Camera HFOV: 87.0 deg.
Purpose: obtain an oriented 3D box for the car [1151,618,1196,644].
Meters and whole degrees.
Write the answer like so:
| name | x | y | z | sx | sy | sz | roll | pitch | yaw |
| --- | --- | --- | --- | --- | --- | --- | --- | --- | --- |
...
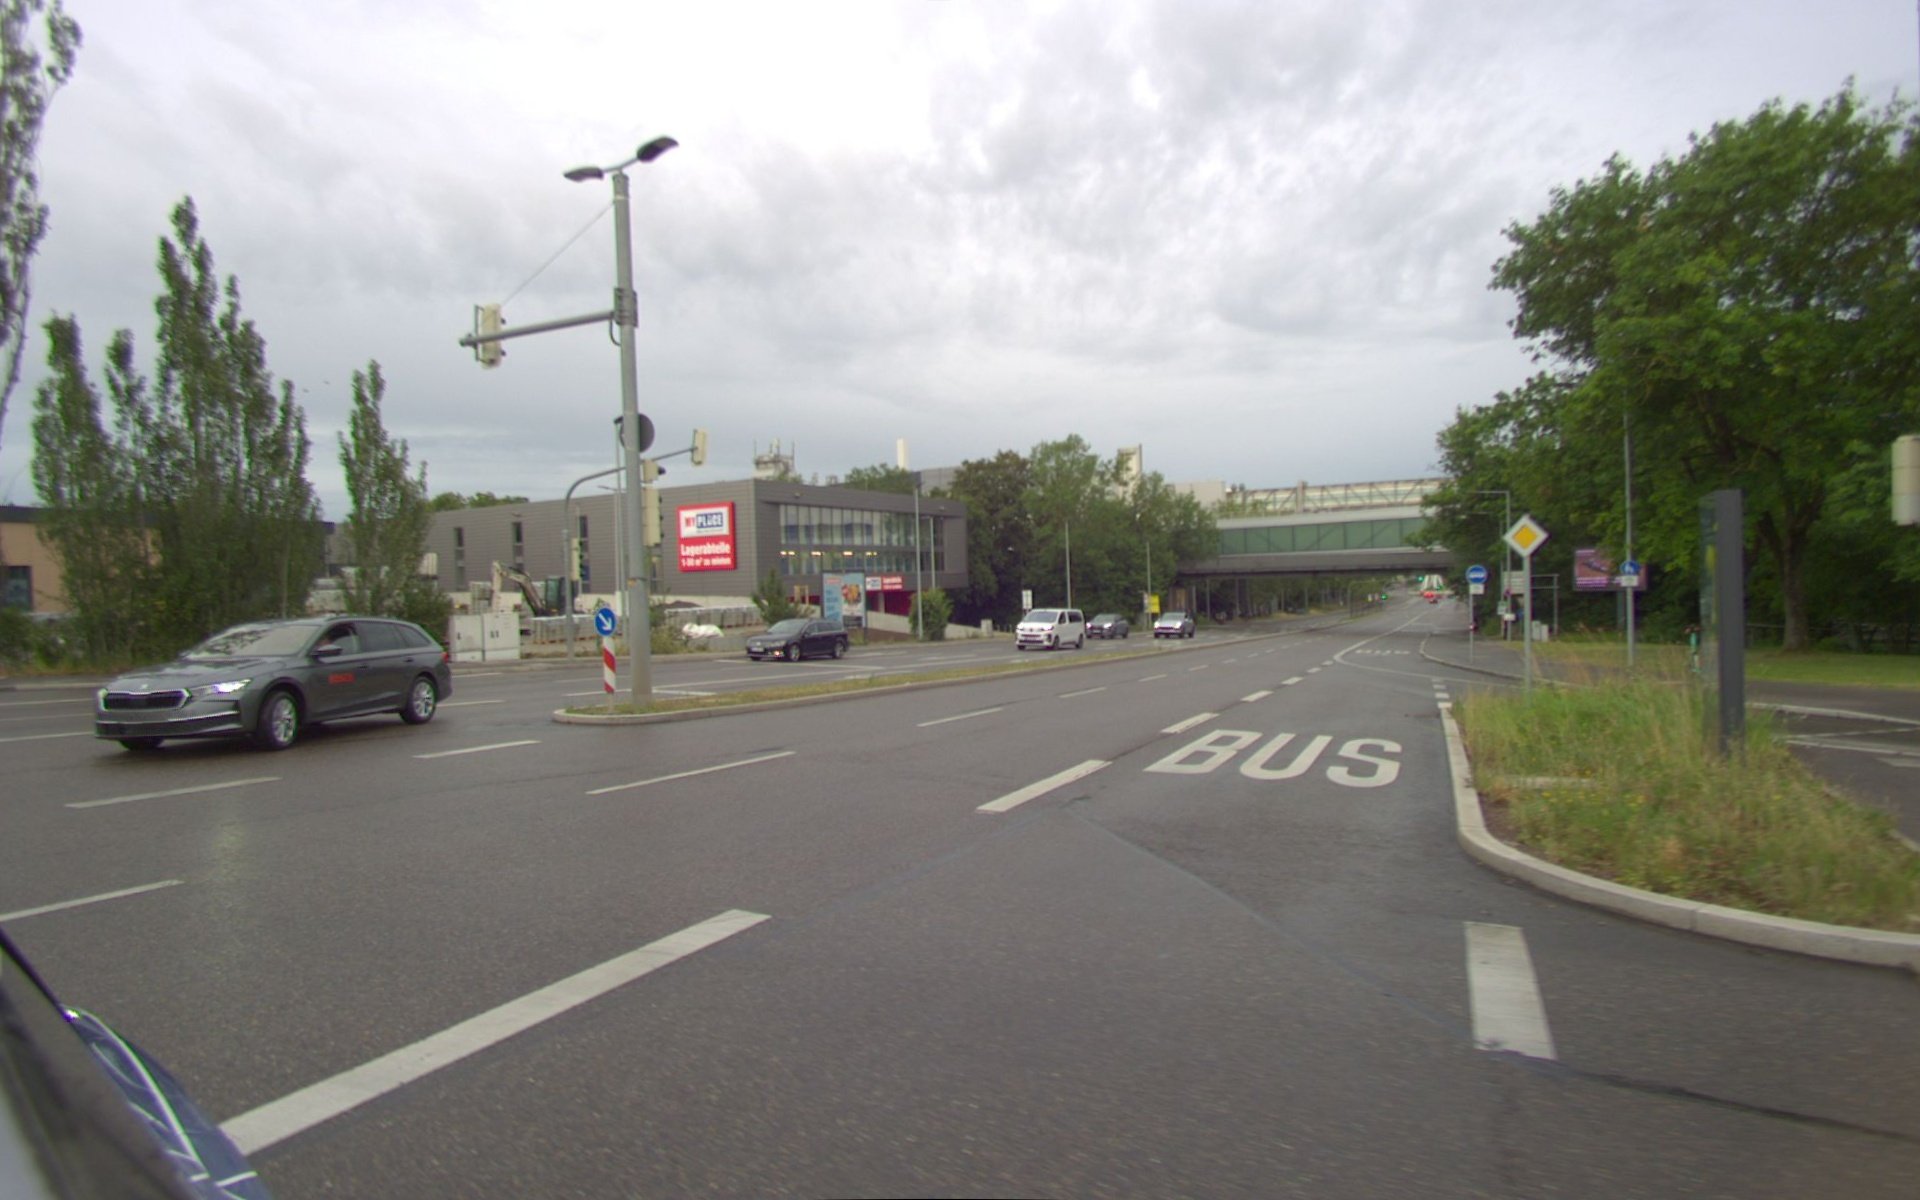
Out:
| name | x | y | z | sx | sy | sz | roll | pitch | yaw |
| --- | --- | --- | --- | --- | --- | --- | --- | --- | --- |
| car | 14.474 | 2.101 | 68.425 | 1.831 | 1.715 | 4.583 | -2 | -2 | 27 |

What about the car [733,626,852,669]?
| name | x | y | z | sx | sy | sz | roll | pitch | yaw |
| --- | --- | --- | --- | --- | --- | --- | --- | --- | --- |
| car | -5.761 | 1.623 | 35.322 | 1.831 | 1.415 | 4.442 | -2 | -2 | 27 |

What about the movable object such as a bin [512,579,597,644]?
| name | x | y | z | sx | sy | sz | roll | pitch | yaw |
| --- | --- | --- | --- | --- | --- | --- | --- | --- | --- |
| movable object such as a bin | -17.347 | 0.532 | 43.381 | 1.915 | 2.647 | 2.978 | -2 | -2 | 21 |

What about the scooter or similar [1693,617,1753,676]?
| name | x | y | z | sx | sy | sz | roll | pitch | yaw |
| --- | --- | --- | --- | --- | --- | --- | --- | --- | --- |
| scooter or similar | 16.776 | 1.011 | 22.276 | 0.545 | 1.269 | 1.350 | -1 | -2 | 16 |

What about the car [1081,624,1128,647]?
| name | x | y | z | sx | sy | sz | roll | pitch | yaw |
| --- | --- | --- | --- | --- | --- | --- | --- | --- | --- |
| car | 9.459 | 2.309 | 65.959 | 1.831 | 1.415 | 4.005 | -2 | -2 | 27 |

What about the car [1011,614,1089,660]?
| name | x | y | z | sx | sy | sz | roll | pitch | yaw |
| --- | --- | --- | --- | --- | --- | --- | --- | --- | --- |
| car | 4.300 | 1.738 | 47.627 | 1.831 | 2.050 | 5.144 | -2 | -2 | 28 |

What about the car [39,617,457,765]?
| name | x | y | z | sx | sy | sz | roll | pitch | yaw |
| --- | --- | --- | --- | --- | --- | --- | --- | --- | --- |
| car | -8.226 | 0.981 | 12.274 | 1.818 | 1.468 | 4.192 | -1 | -2 | 7 |

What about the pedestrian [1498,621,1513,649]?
| name | x | y | z | sx | sy | sz | roll | pitch | yaw |
| --- | --- | --- | --- | --- | --- | --- | --- | --- | --- |
| pedestrian | 31.721 | 2.027 | 58.842 | 0.740 | 1.641 | 0.706 | -1 | -2 | 27 |

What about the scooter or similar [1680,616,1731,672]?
| name | x | y | z | sx | sy | sz | roll | pitch | yaw |
| --- | --- | --- | --- | --- | --- | --- | --- | --- | --- |
| scooter or similar | 17.378 | 1.020 | 23.604 | 0.512 | 1.269 | 1.220 | -1 | -2 | 16 |
